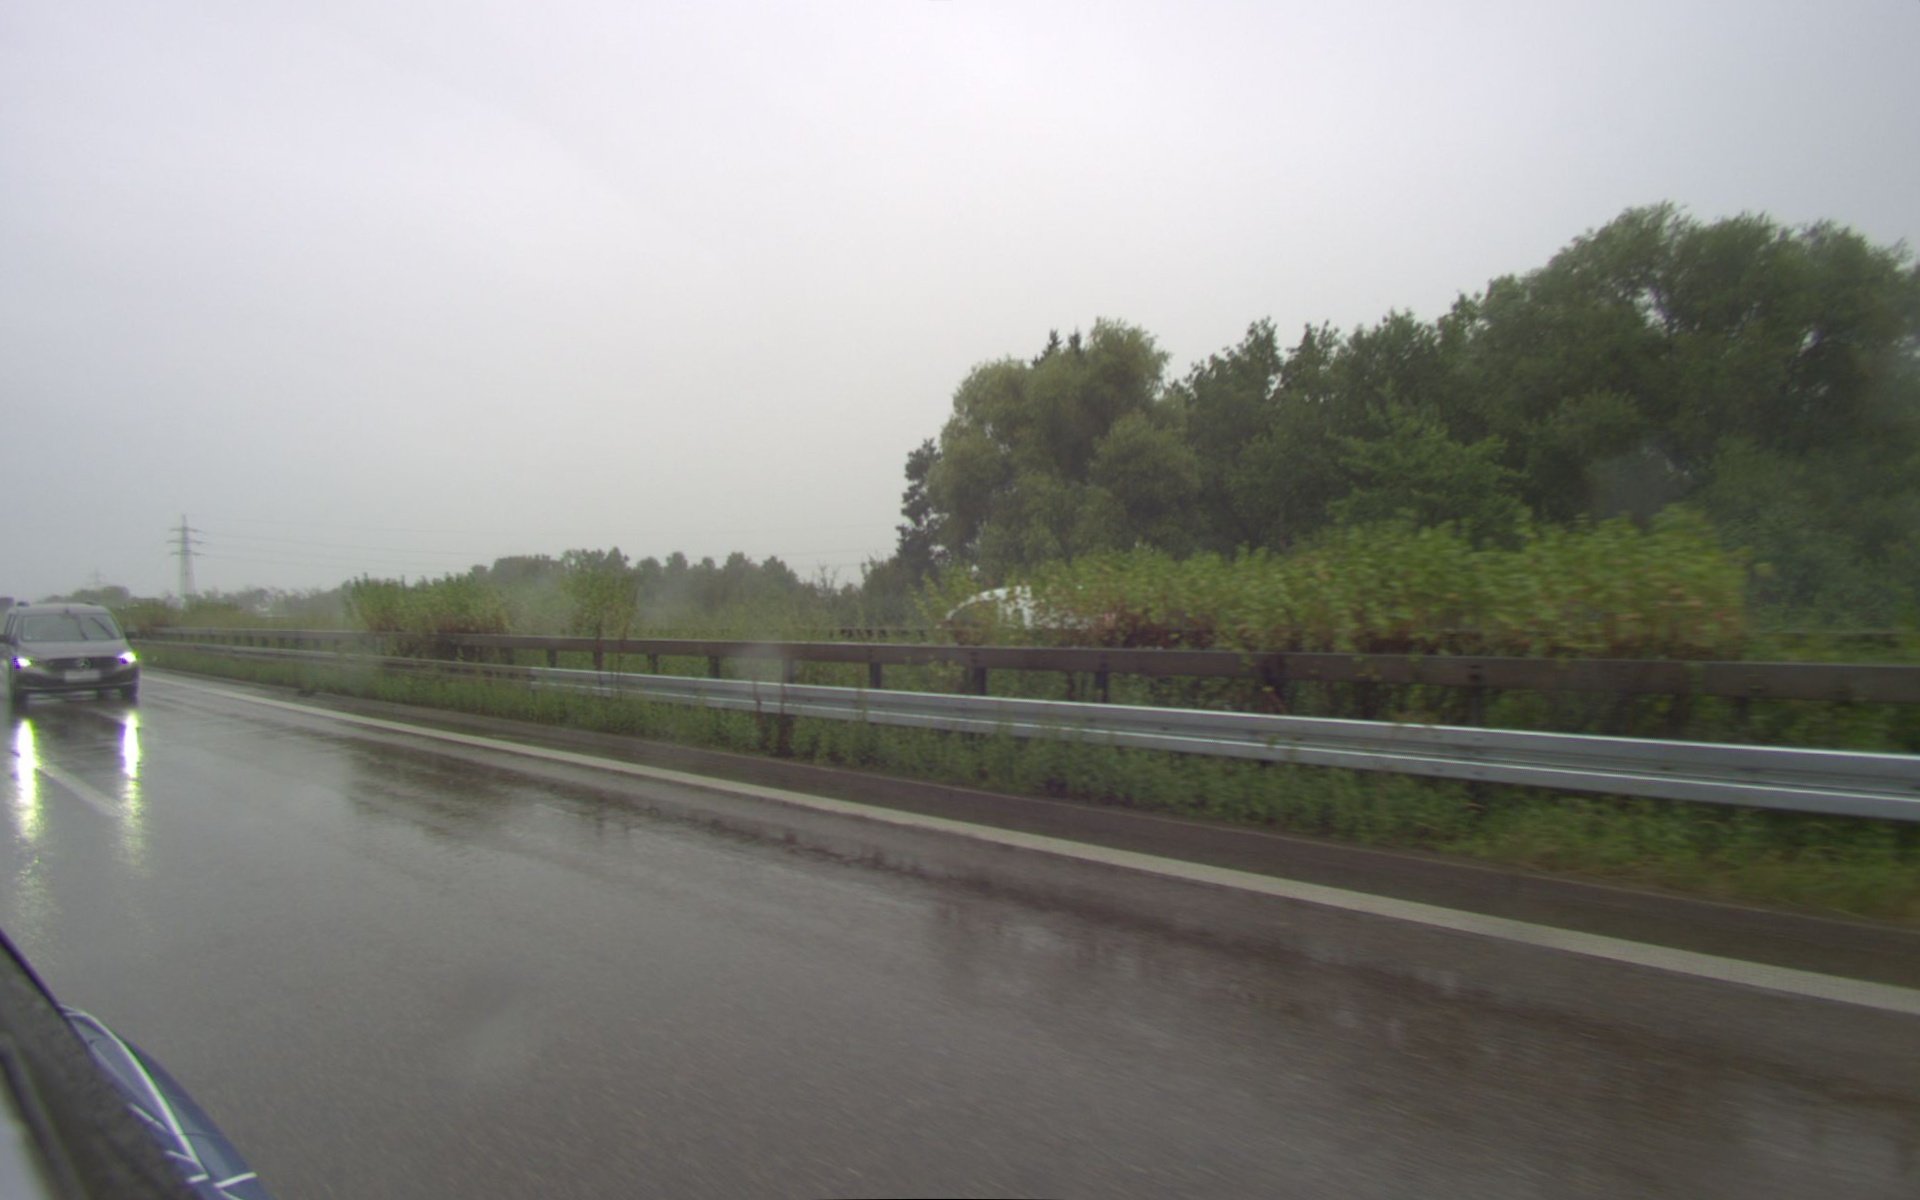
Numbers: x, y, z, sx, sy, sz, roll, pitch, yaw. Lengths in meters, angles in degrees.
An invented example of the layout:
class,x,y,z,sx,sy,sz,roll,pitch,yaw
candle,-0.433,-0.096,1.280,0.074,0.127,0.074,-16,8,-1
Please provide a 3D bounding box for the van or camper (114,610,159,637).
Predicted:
class,x,y,z,sx,sy,sz,roll,pitch,yaw
van or camper,-99.123,2.848,121.768,9.514,3.109,2.856,-2,0,43

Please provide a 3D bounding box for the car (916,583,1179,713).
class,x,y,z,sx,sy,sz,roll,pitch,yaw
car,1.288,0.699,15.789,3.799,1.777,1.722,-2,-1,41

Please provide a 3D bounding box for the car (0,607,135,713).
class,x,y,z,sx,sy,sz,roll,pitch,yaw
car,-17.338,1.072,19.372,2.018,1.787,4.503,1,-2,-44
